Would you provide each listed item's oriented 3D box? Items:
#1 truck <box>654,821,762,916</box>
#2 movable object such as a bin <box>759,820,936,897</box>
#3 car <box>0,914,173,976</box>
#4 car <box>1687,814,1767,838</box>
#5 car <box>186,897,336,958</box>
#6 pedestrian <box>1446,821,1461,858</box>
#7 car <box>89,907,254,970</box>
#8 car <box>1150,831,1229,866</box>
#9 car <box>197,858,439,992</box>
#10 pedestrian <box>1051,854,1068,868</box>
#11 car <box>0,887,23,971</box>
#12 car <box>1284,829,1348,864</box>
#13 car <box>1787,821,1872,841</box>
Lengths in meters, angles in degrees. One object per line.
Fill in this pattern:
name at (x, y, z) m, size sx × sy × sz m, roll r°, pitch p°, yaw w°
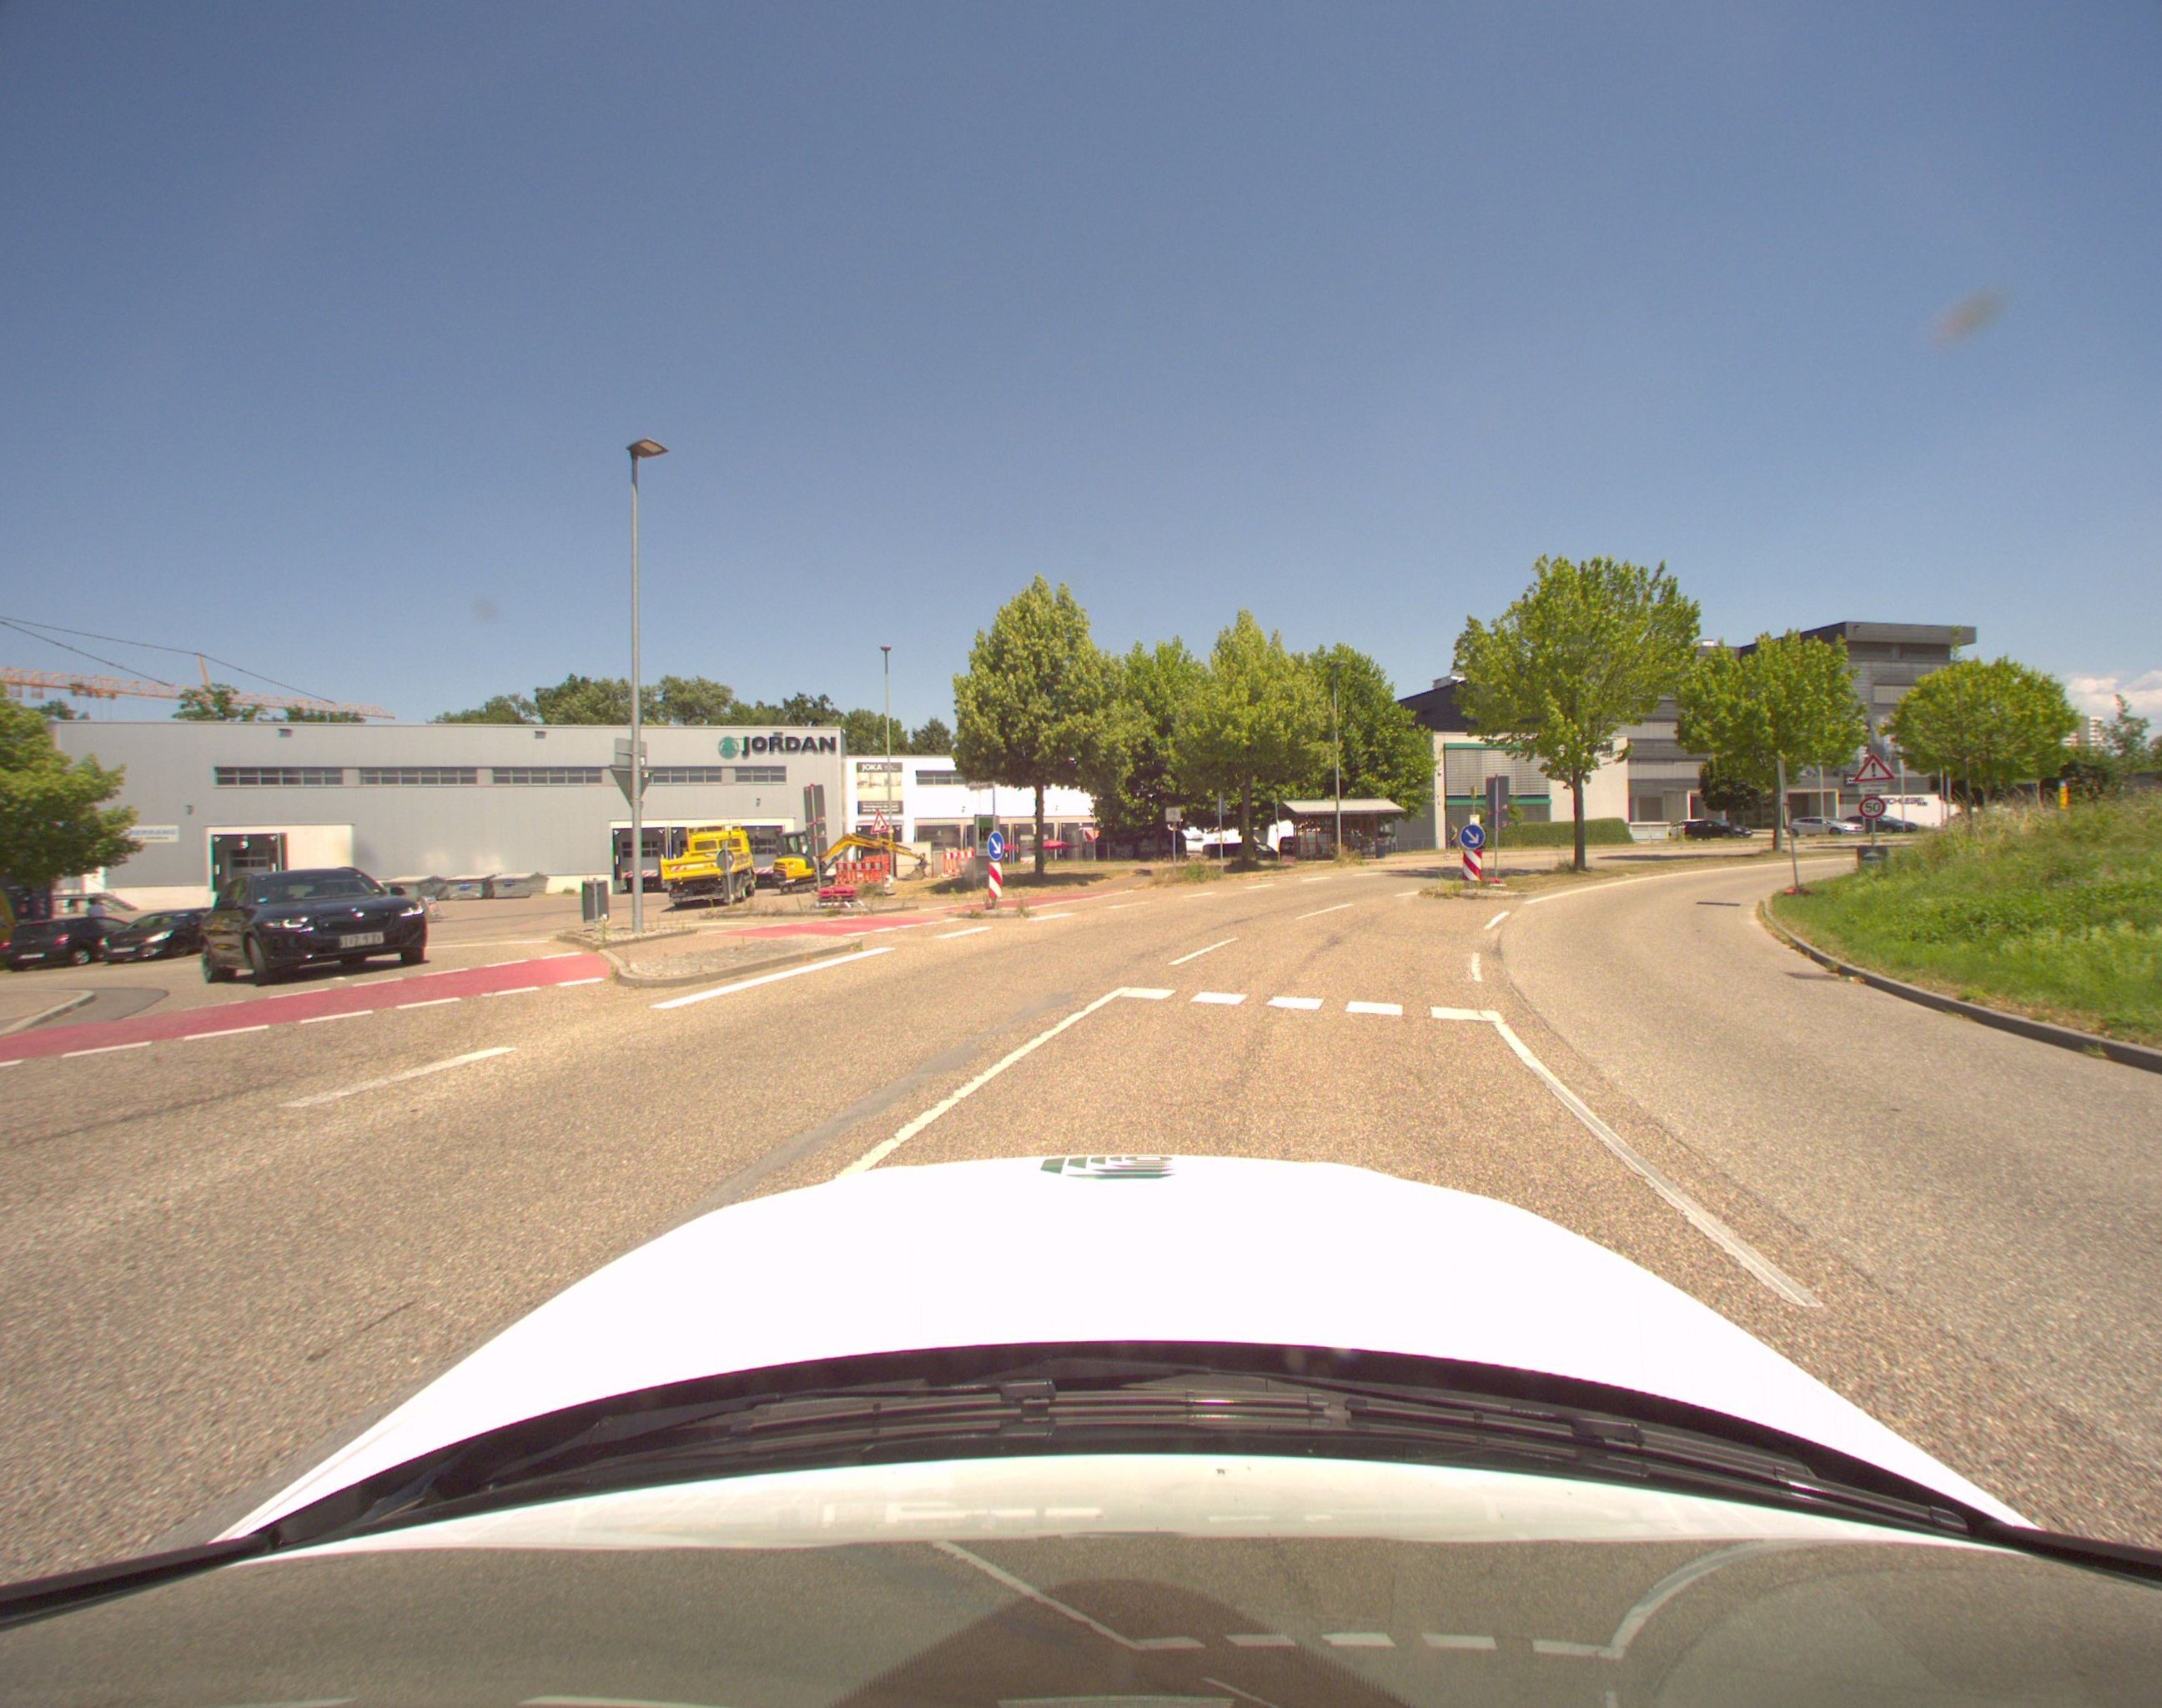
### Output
truck at (-14.292, 0.384, 31.724) m, size 2.593 × 3.135 × 6.391 m, roll -5°, pitch 3°, yaw -16°
movable object such as a bin at (-9.417, 0.173, 33.425) m, size 6.551 × 2.581 × 1.995 m, roll -4°, pitch 0°, yaw -8°
car at (-31.562, 2.824, 25.981) m, size 1.625 × 1.478 × 3.597 m, roll -4°, pitch 0°, yaw -13°
car at (42.582, -1.833, 53.769) m, size 1.702 × 1.379 × 3.901 m, roll -3°, pitch 0°, yaw -13°
car at (-26.904, 2.362, 26.898) m, size 1.623 × 1.462 × 3.658 m, roll -4°, pitch 2°, yaw -11°
pedestrian at (17.315, -0.657, 37.823) m, size 0.525 × 1.670 × 0.582 m, roll -1°, pitch -2°, yaw 15°
car at (-29.026, 2.633, 26.175) m, size 1.588 × 1.507 × 3.765 m, roll -4°, pitch 1°, yaw -14°
car at (6.053, -0.312, 45.642) m, size 3.988 × 1.728 × 1.834 m, roll -3°, pitch 0°, yaw -11°
car at (-12.163, 1.131, 12.893) m, size 4.539 × 1.634 × 1.883 m, roll -6°, pitch 1°, yaw 36°
pedestrian at (-1.190, 0.382, 45.259) m, size 0.858 × 0.695 × 0.409 m, roll -3°, pitch 0°, yaw 11°
car at (-36.129, 2.560, 24.451) m, size 1.996 × 2.732 × 5.772 m, roll -2°, pitch 1°, yaw -13°
car at (14.591, -0.417, 50.871) m, size 1.550 × 2.014 × 4.233 m, roll 0°, pitch -1°, yaw -23°
car at (51.700, -1.576, 56.355) m, size 1.490 × 1.182 × 4.257 m, roll 0°, pitch -1°, yaw -13°
